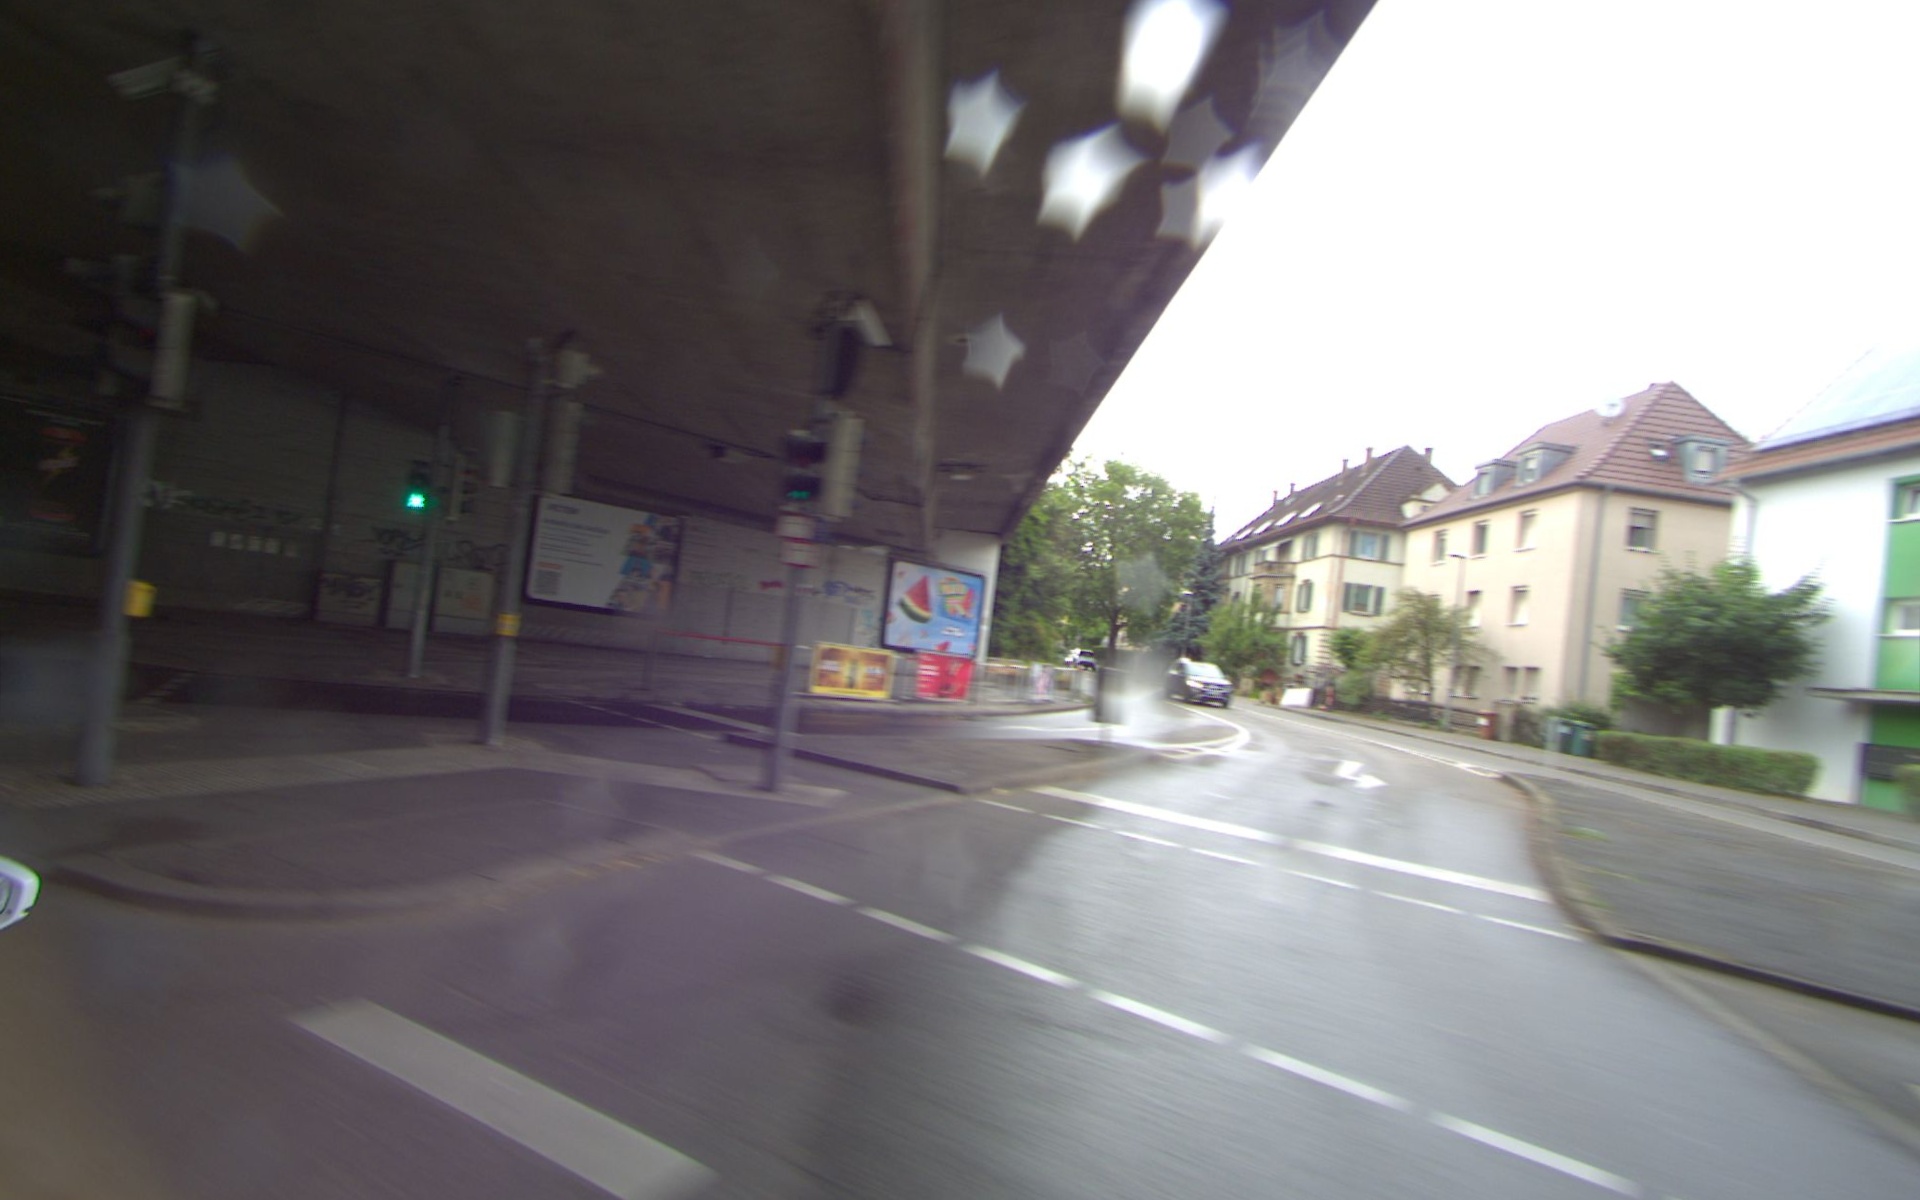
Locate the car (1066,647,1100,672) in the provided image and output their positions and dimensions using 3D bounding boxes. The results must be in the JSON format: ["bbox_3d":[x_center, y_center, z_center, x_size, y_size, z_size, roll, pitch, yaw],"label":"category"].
[{"bbox_3d":[9.882,4.792,81.190,1.848,1.547,3.998,9,-1,-4],"label":"car"}]

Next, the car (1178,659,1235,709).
[{"bbox_3d":[9.419,3.189,38.724,1.735,1.598,4.239,5,-2,11],"label":"car"}]

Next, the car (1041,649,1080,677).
[{"bbox_3d":[7.273,4.530,73.188,1.849,1.548,3.996,9,-1,-6],"label":"car"}]
